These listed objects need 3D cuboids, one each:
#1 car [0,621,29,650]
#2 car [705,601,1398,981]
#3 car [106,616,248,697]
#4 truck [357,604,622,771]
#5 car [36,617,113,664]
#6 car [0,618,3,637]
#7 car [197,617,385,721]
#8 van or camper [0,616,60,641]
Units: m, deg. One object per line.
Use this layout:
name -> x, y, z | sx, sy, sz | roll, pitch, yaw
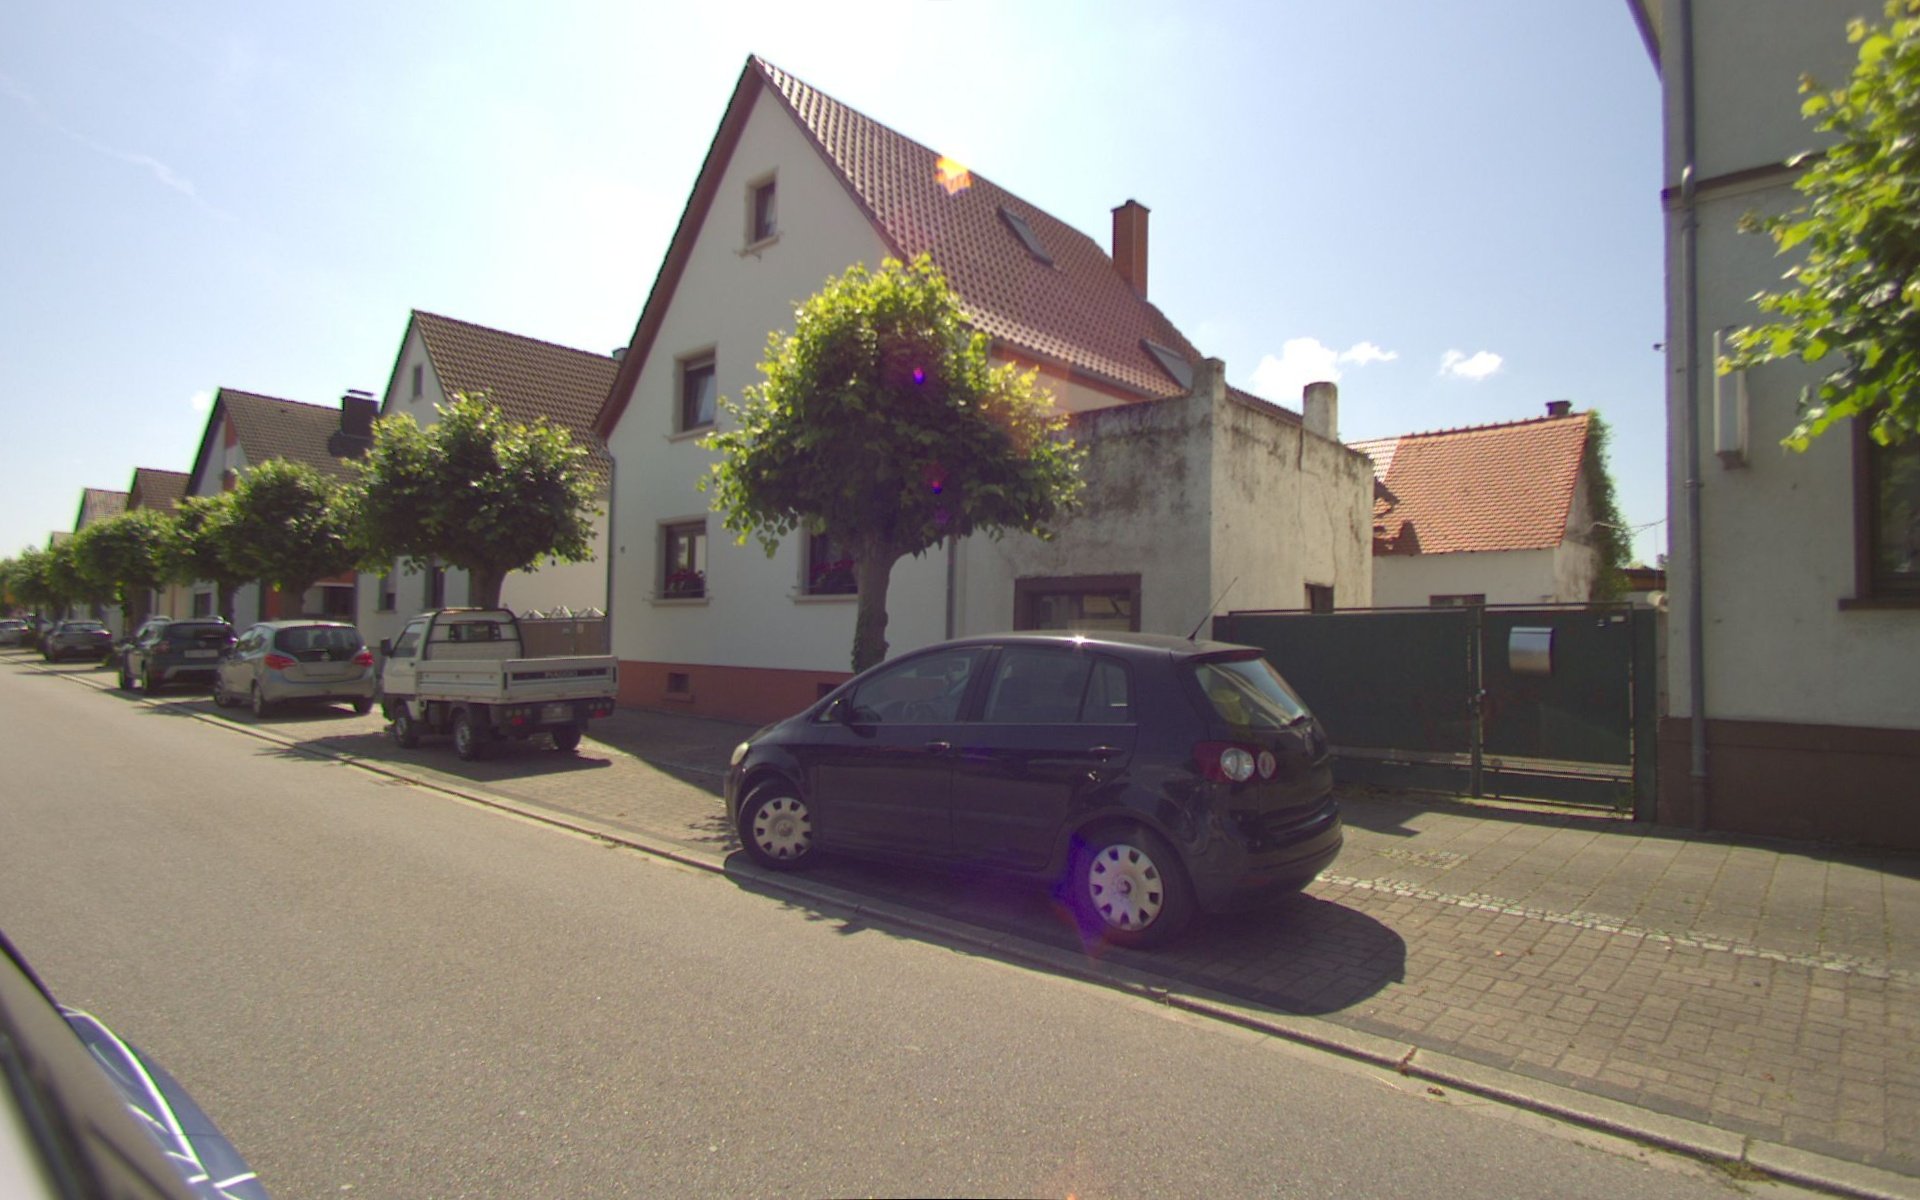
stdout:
car -> -53.390, 1.963, 56.454 | 4.132, 1.494, 1.805 | -1, -1, 43
car -> 0.403, 0.865, 6.322 | 3.993, 1.646, 1.769 | -1, -2, 37
car -> -17.811, 1.234, 22.958 | 4.298, 1.649, 1.833 | -2, -1, 42
truck -> -6.061, 0.959, 12.802 | 4.191, 1.778, 1.559 | -1, -1, 42
car -> -32.726, 1.448, 37.367 | 4.136, 1.625, 1.832 | -1, -1, 44
car -> -90.849, 2.530, 92.799 | 1.942, 1.732, 4.200 | -1, -1, 36
car -> -12.160, 1.141, 18.280 | 4.370, 1.625, 1.833 | -1, -1, 42
van or camper -> -72.142, 2.185, 77.403 | 1.999, 1.877, 4.690 | -2, -2, 41
